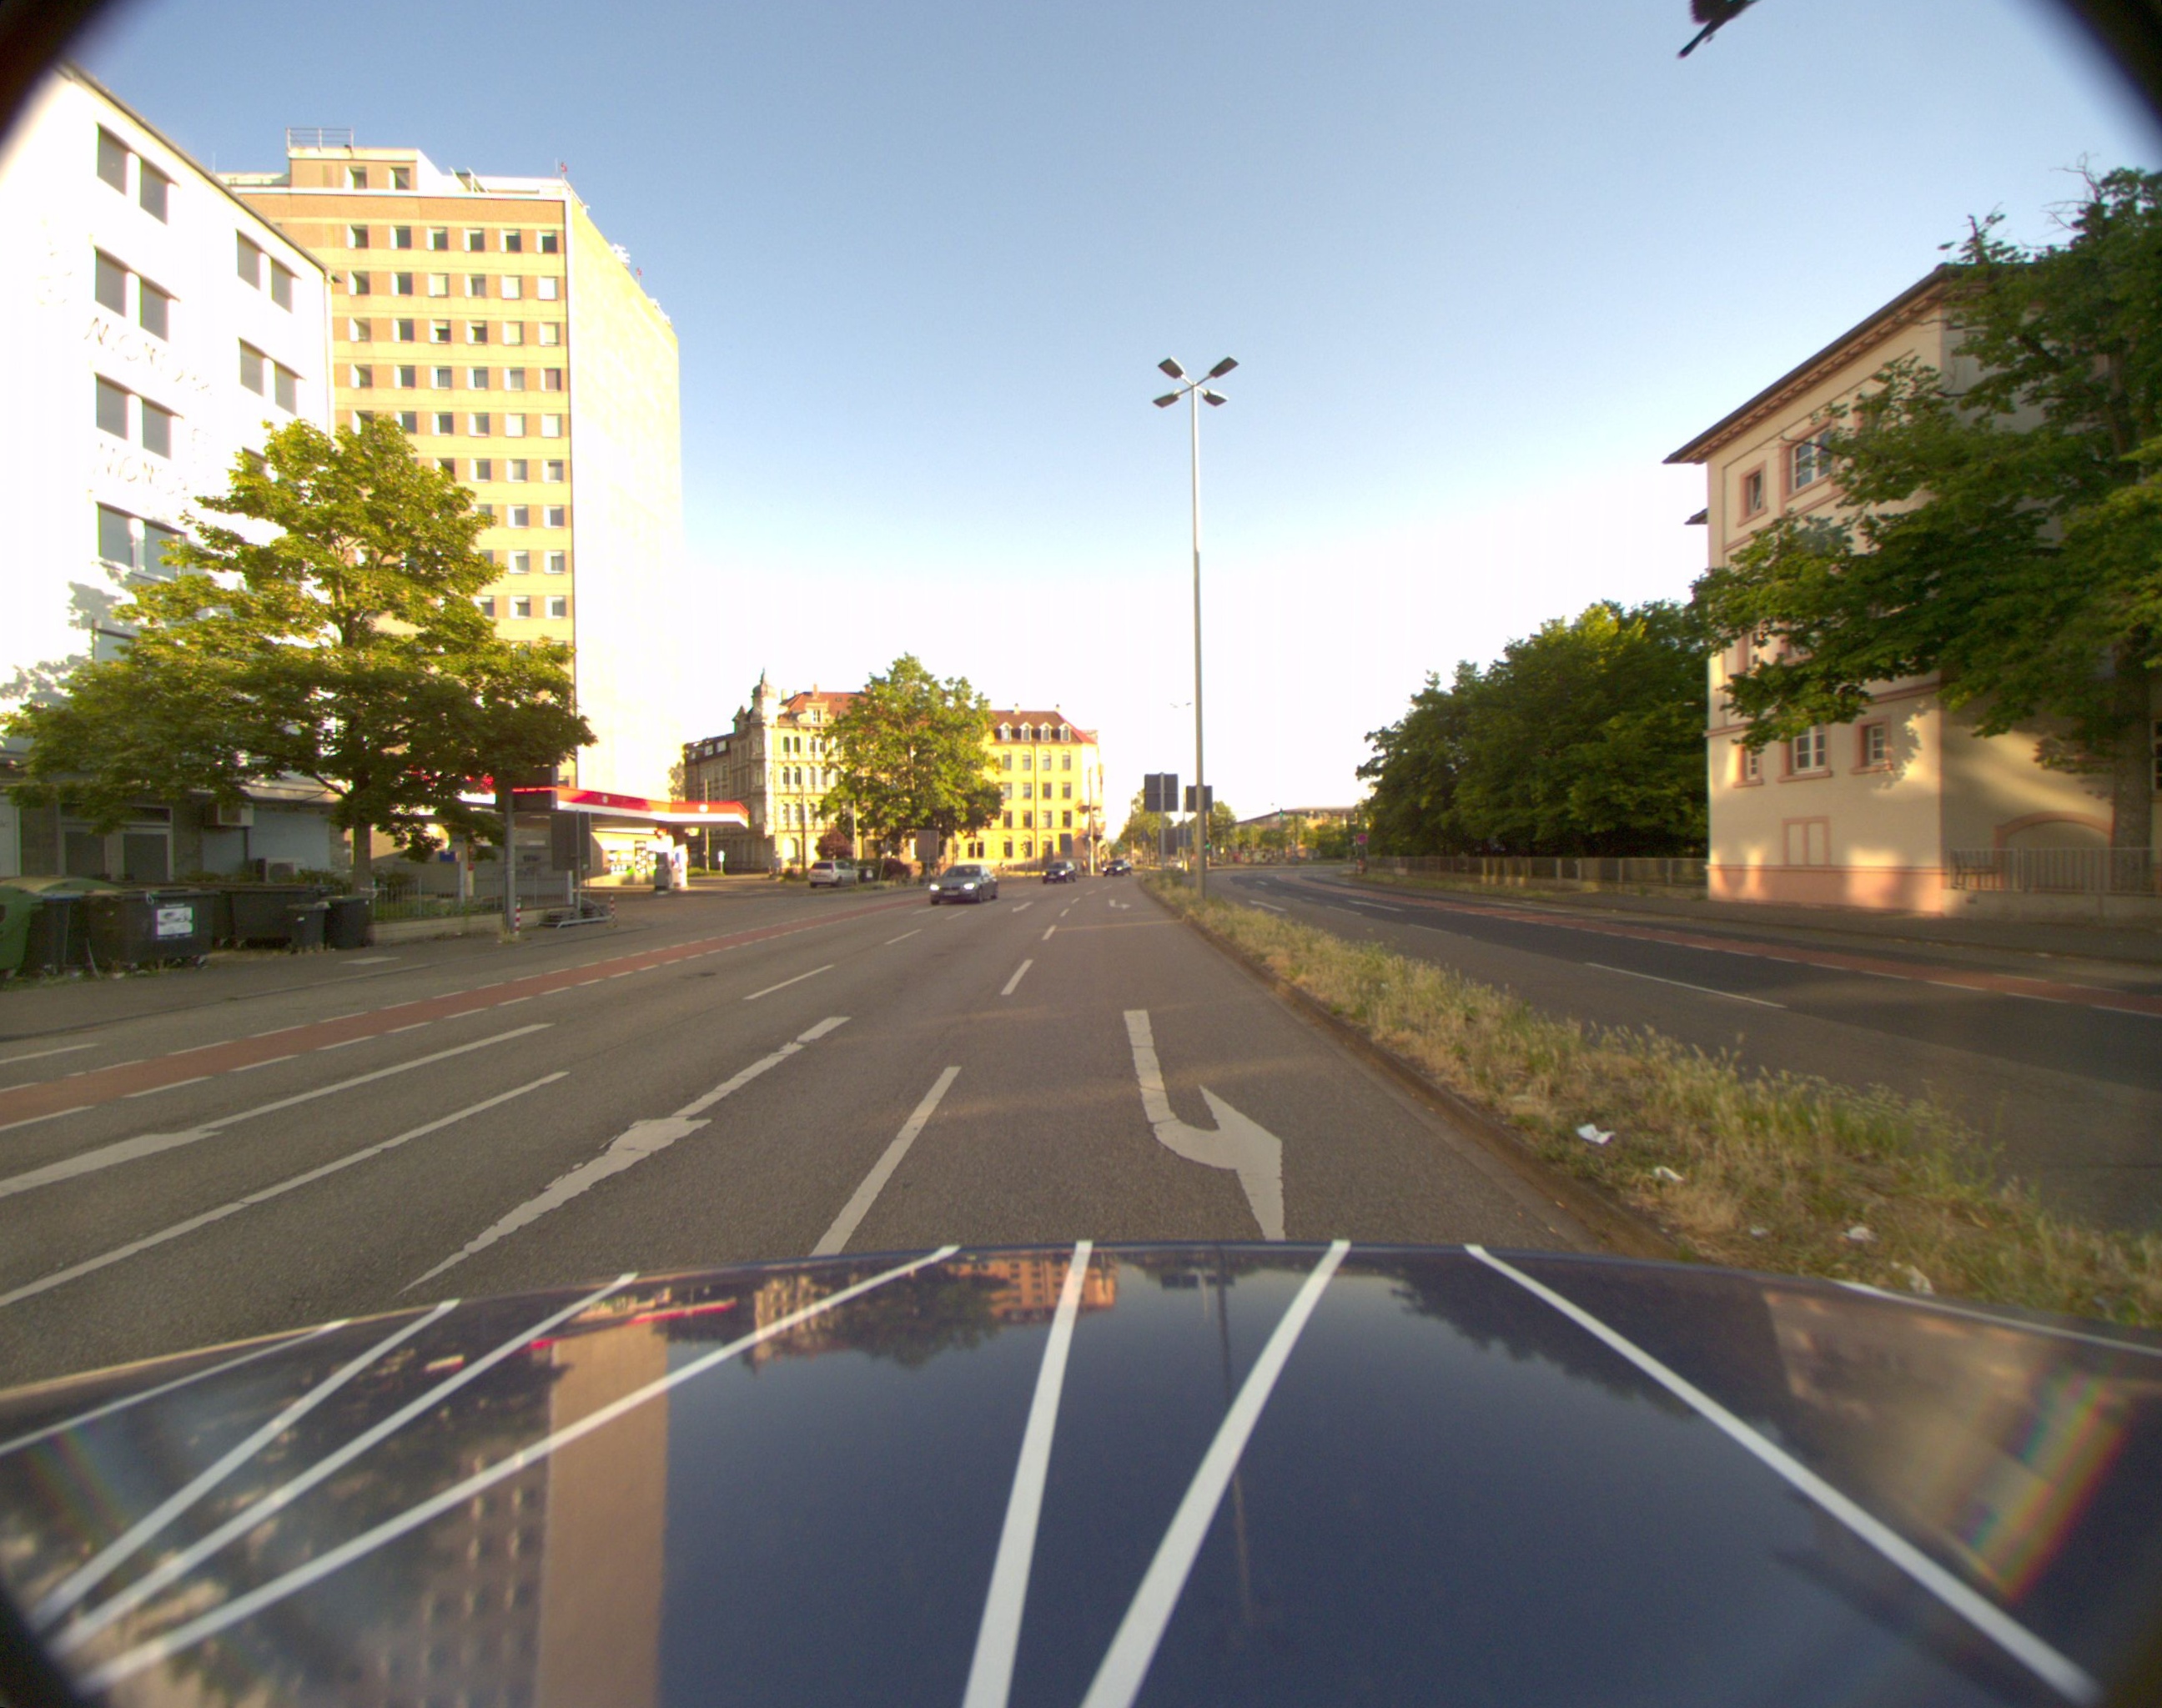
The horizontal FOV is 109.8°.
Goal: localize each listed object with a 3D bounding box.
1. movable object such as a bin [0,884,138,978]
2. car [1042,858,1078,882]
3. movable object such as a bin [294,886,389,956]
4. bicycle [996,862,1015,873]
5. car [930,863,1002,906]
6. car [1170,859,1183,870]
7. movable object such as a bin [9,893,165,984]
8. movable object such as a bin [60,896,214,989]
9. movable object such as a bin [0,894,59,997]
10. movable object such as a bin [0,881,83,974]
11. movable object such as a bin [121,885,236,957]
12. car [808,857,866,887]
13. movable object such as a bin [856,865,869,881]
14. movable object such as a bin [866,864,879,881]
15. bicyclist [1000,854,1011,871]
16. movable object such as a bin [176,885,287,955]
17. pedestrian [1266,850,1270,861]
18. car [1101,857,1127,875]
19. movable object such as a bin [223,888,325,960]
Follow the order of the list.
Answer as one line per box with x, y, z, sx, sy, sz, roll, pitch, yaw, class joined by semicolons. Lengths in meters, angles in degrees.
-17.126;1.265;12.778;1.034;1.440;1.162;-1;1;-2;movable object such as a bin
-1.358;1.034;51.131;1.583;1.440;3.875;-2;0;10;car
-14.873;1.328;15.313;0.956;1.320;0.954;-1;1;-2;movable object such as a bin
-7.566;1.307;75.971;1.927;1.053;0.451;-1;1;-7;bicycle
-4.370;1.113;29.614;1.819;1.440;4.668;-2;0;3;car
14.143;1.556;112.460;1.673;1.410;4.443;-2;0;9;car
-16.042;1.334;12.308;0.956;1.320;1.162;-1;1;-2;movable object such as a bin
-14.922;1.369;12.057;0.956;1.320;1.162;-1;1;-2;movable object such as a bin
-15.818;1.309;10.671;1.351;1.415;1.105;-1;1;-4;movable object such as a bin
-18.301;1.227;12.934;1.034;1.490;1.162;-1;1;-2;movable object such as a bin
-17.928;1.308;15.132;0.956;1.320;1.098;-1;1;-2;movable object such as a bin
-13.906;0.997;43.488;1.688;1.508;3.798;-1;1;8;car
-13.813;1.185;47.977;0.544;1.013;0.688;-1;1;6;movable object such as a bin
-13.093;1.170;47.765;0.544;1.013;0.688;-1;1;6;movable object such as a bin
-7.579;0.852;76.048;1.065;1.639;0.732;-1;1;-6;bicyclist
-16.931;1.297;15.174;0.956;1.276;1.098;-1;1;-2;movable object such as a bin
34.283;0.346;139.317;0.556;2.002;0.664;-1;1;1;pedestrian
2.867;0.993;65.684;1.730;1.440;4.048;-2;0;9;car
-15.834;1.350;14.937;0.956;1.320;0.954;-1;1;-2;movable object such as a bin
